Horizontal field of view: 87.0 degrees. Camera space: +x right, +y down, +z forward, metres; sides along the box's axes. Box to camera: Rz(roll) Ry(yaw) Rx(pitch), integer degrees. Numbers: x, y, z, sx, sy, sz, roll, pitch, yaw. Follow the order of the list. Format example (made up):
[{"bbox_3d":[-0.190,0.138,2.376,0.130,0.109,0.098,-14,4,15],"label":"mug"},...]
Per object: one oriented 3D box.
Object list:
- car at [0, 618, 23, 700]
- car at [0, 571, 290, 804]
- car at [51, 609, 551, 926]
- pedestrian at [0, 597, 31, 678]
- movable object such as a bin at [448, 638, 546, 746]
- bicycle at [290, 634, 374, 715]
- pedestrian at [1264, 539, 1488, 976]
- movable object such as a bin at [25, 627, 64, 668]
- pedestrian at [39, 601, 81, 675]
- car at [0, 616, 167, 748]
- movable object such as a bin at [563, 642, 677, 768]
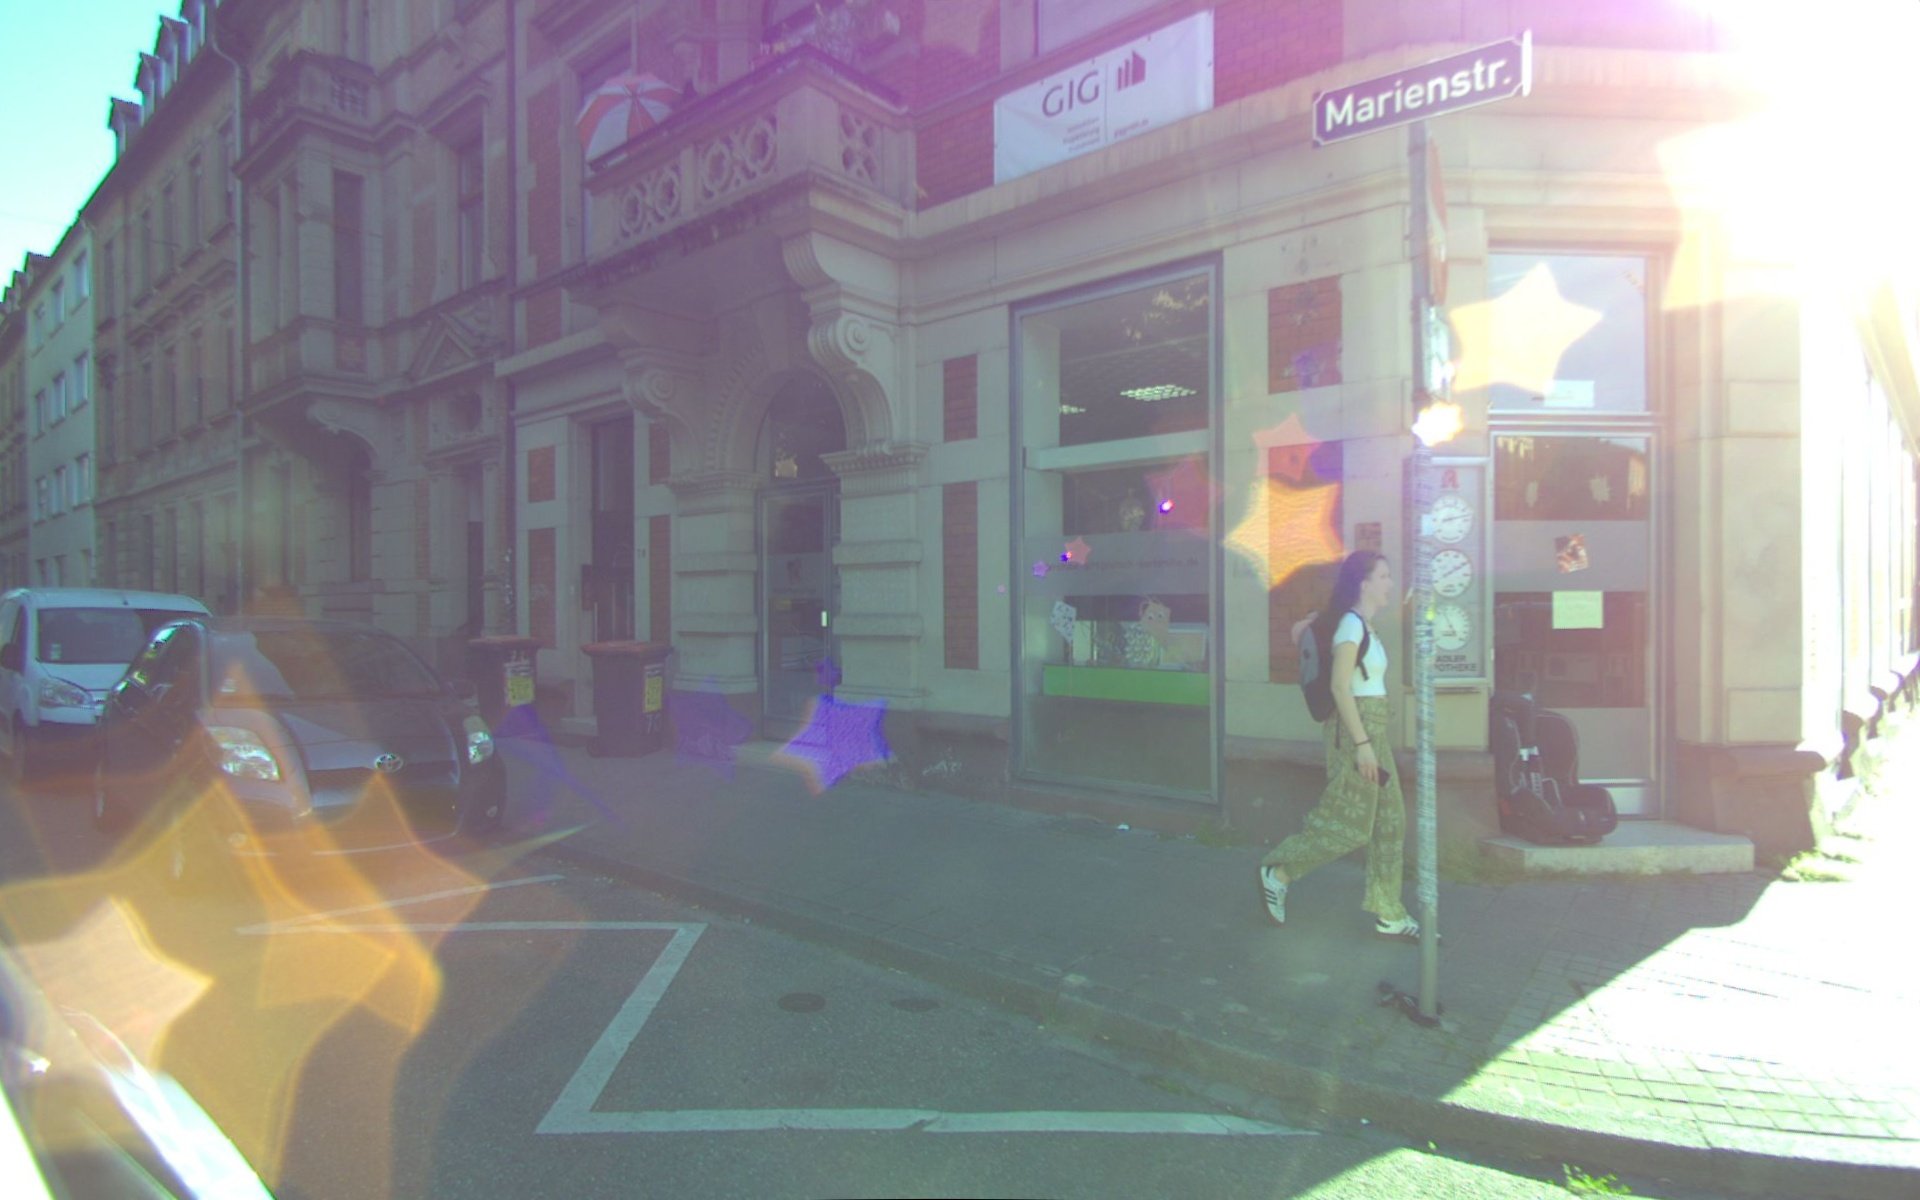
[{"bbox_3d":[-19.775,1.100,19.670,4.189,1.525,1.748,-1,-3,40],"label":"car"},{"bbox_3d":[-8.541,0.747,10.144,4.569,1.825,1.812,-1,-3,40],"label":"car"},{"bbox_3d":[-4.527,0.843,6.722,3.970,1.492,1.675,-1,-3,40],"label":"car"},{"bbox_3d":[-23.027,0.891,24.584,0.904,1.896,0.573,1,1,41],"label":"pedestrian"},{"bbox_3d":[-4.987,0.962,10.890,0.855,1.049,0.631,-1,1,40],"label":"movable object such as a bin"},{"bbox_3d":[-9.060,1.043,14.575,1.545,1.049,0.565,-1,1,41],"label":"bicycle"},{"bbox_3d":[1.748,0.587,4.267,0.717,1.656,0.542,2,2,40],"label":"pedestrian"},{"bbox_3d":[-26.038,1.343,28.775,0.666,1.096,0.791,1,0,44],"label":"movable object such as a bin"},{"bbox_3d":[-22.342,0.921,25.113,0.648,1.785,0.694,1,1,40],"label":"pedestrian"},{"bbox_3d":[-12.250,0.991,13.504,3.967,1.525,1.676,-1,-3,38],"label":"car"},{"bbox_3d":[-3.168,0.943,9.417,0.855,1.049,0.631,-1,1,40],"label":"movable object such as a bin"}]
